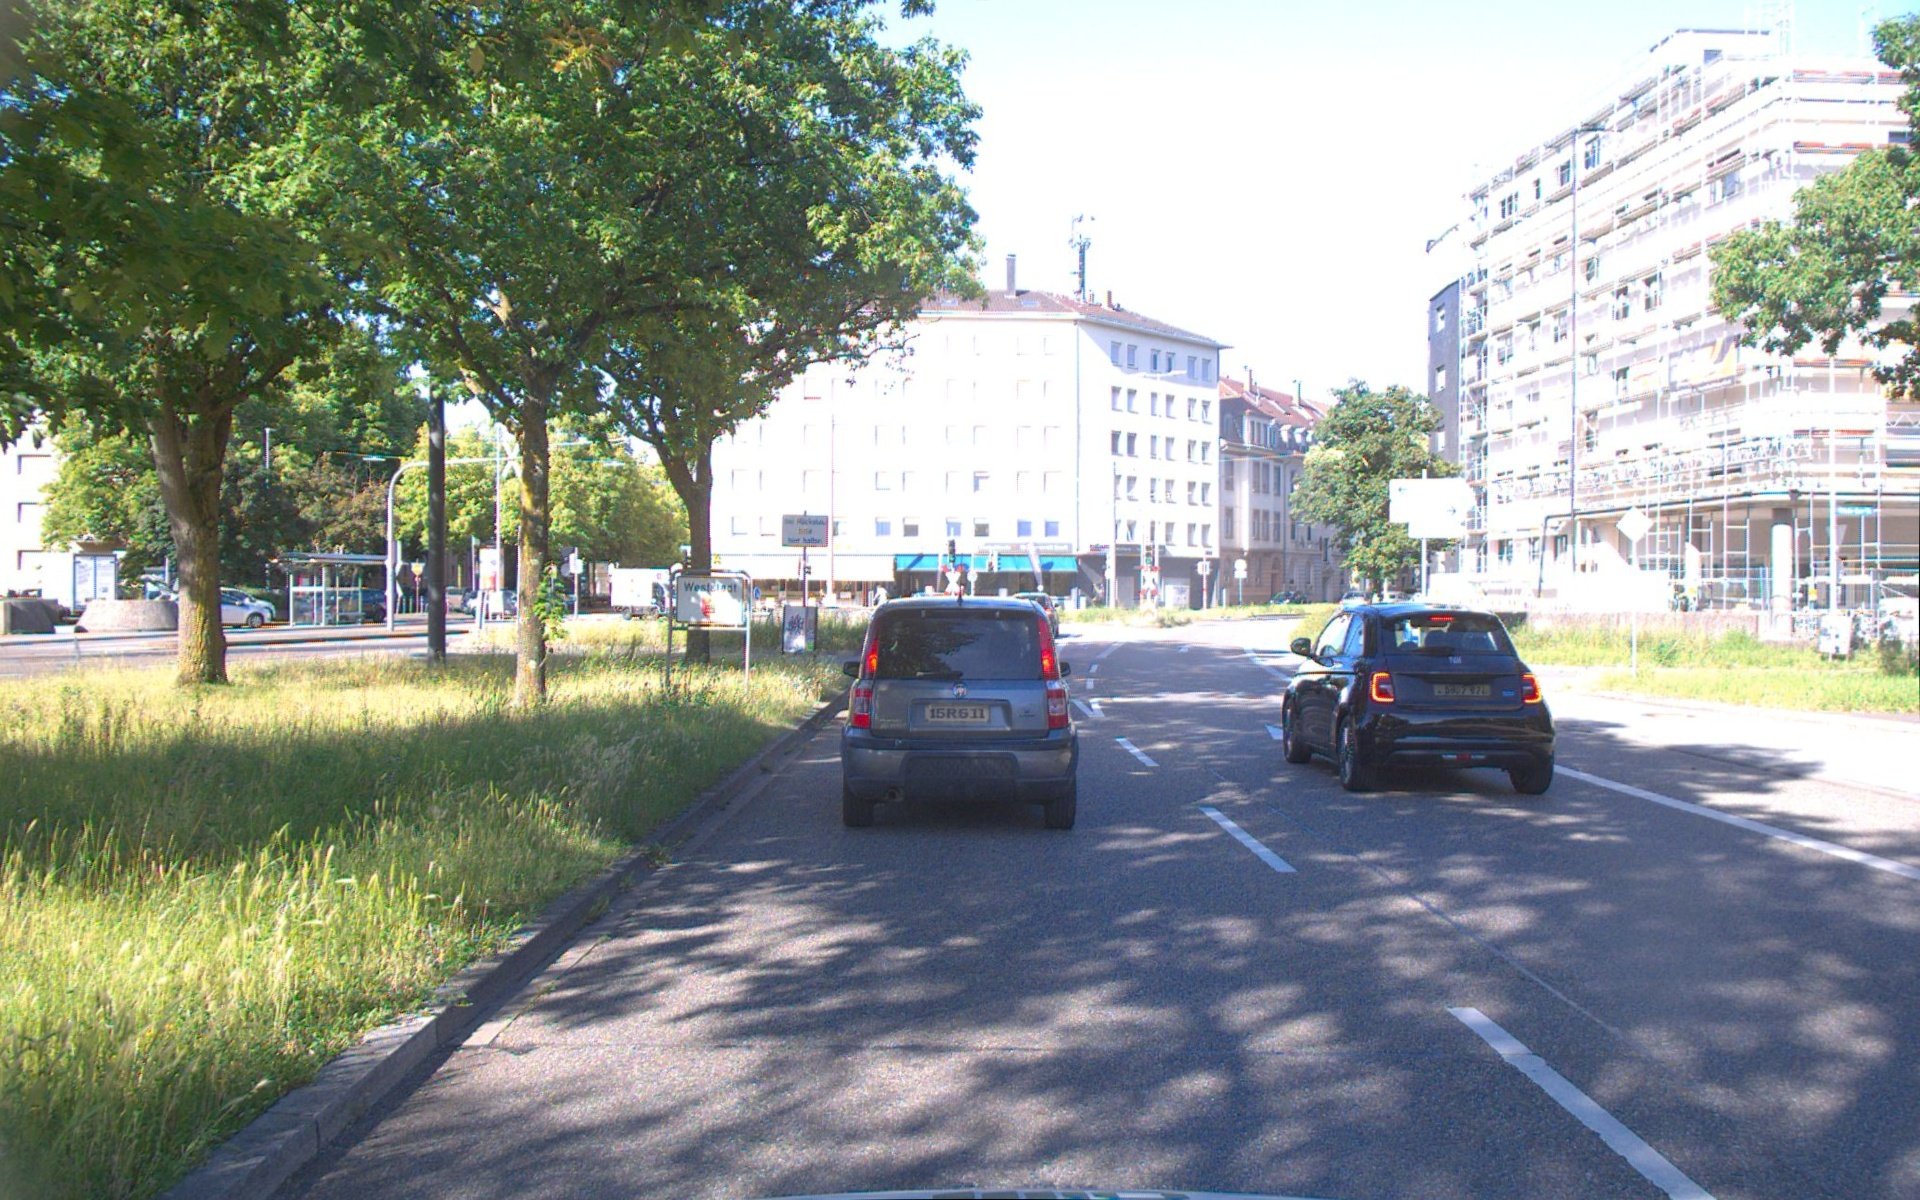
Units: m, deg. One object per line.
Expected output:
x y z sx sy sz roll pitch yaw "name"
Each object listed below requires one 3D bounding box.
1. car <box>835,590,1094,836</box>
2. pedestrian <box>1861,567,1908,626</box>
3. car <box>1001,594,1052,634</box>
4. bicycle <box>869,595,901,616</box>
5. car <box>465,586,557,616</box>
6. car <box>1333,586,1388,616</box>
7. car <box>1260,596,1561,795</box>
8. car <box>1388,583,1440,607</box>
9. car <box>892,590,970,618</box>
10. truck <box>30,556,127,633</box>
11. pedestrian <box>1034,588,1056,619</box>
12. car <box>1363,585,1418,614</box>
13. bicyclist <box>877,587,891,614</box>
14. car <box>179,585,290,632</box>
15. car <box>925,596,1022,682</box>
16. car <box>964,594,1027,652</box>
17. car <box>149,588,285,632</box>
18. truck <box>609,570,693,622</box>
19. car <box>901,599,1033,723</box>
0.051 0.699 12.013 1.626 1.536 3.252 0 0 1 "car"
23.860 -0.091 42.679 0.637 1.523 0.907 0 0 -9 "pedestrian"
2.204 0.469 55.202 1.655 1.275 3.626 0 -1 2 "car"
-3.898 0.287 85.973 1.546 1.109 0.532 0 0 16 "bicycle"
-22.801 0.058 84.049 4.304 1.474 1.666 0 0 -8 "car"
20.672 0.010 85.267 1.742 1.468 3.610 1 1 31 "car"
3.856 0.744 14.744 1.640 1.529 3.561 0 0 -1 "car"
31.841 -0.367 116.088 1.872 1.621 3.986 0 0 -14 "car"
-1.403 0.181 78.824 1.974 1.264 3.957 0 0 -32 "car"
-36.002 -0.254 67.510 4.742 3.047 1.988 1 1 42 "truck"
3.972 0.162 77.008 0.760 1.452 0.935 1 -1 -14 "pedestrian"
23.296 -0.042 89.439 1.787 1.534 3.990 0 1 32 "car"
-3.942 0.032 85.974 0.583 1.380 0.532 0 0 16 "bicyclist"
-29.928 0.304 68.323 1.724 1.747 3.997 3 2 26 "car"
0.197 0.686 31.642 1.724 1.512 4.292 0 0 -1 "car"
0.923 0.577 43.593 1.612 1.463 3.396 0 0 1 "car"
-29.209 0.377 65.121 1.840 1.570 4.521 4 3 42 "car"
-15.225 -0.204 81.383 4.026 2.469 1.788 0 0 35 "truck"
0.058 0.727 21.709 1.588 1.454 3.687 0 0 -1 "car"
